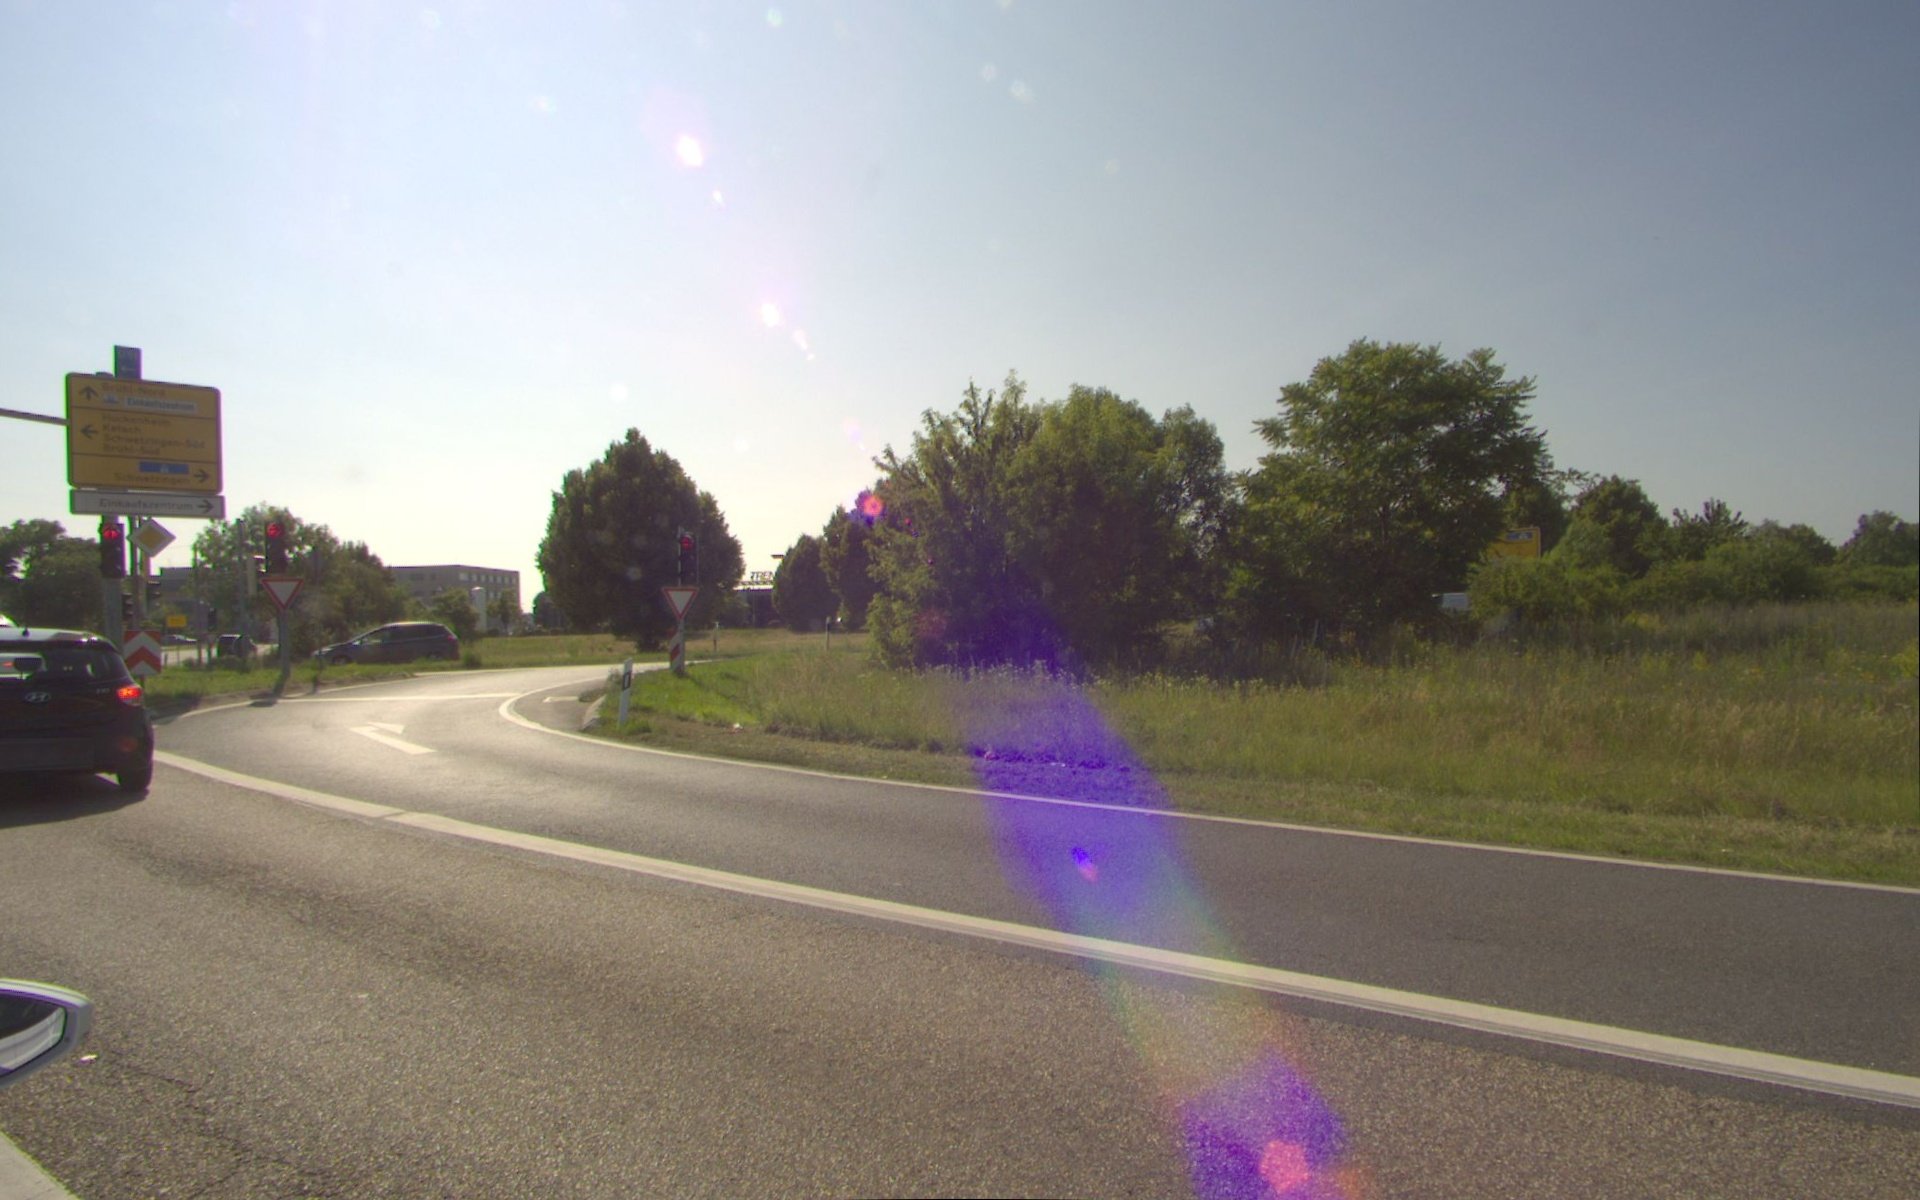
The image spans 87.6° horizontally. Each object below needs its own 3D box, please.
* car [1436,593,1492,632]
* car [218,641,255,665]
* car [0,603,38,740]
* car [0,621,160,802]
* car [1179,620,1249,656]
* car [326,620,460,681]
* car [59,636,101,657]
[{"bbox_3d":[33.323,0.836,66.170,3.851,2.467,1.455,1,-2,-30],"label":"car"},{"bbox_3d":[-51.746,3.753,71.712,1.857,1.694,3.750,1,-3,-32],"label":"car"},{"bbox_3d":[-13.674,0.923,13.289,3.705,1.698,1.626,-2,-2,39],"label":"car"},{"bbox_3d":[-8.906,0.938,9.334,3.255,1.466,1.626,-1,-2,39],"label":"car"},{"bbox_3d":[14.221,2.148,56.096,3.698,1.977,1.688,1,-2,-30],"label":"car"},{"bbox_3d":[-19.676,1.711,34.845,3.963,1.978,1.687,0,-1,-31],"label":"car"},{"bbox_3d":[-74.184,3.895,84.442,1.855,1.694,3.753,1,-2,-28],"label":"car"}]
